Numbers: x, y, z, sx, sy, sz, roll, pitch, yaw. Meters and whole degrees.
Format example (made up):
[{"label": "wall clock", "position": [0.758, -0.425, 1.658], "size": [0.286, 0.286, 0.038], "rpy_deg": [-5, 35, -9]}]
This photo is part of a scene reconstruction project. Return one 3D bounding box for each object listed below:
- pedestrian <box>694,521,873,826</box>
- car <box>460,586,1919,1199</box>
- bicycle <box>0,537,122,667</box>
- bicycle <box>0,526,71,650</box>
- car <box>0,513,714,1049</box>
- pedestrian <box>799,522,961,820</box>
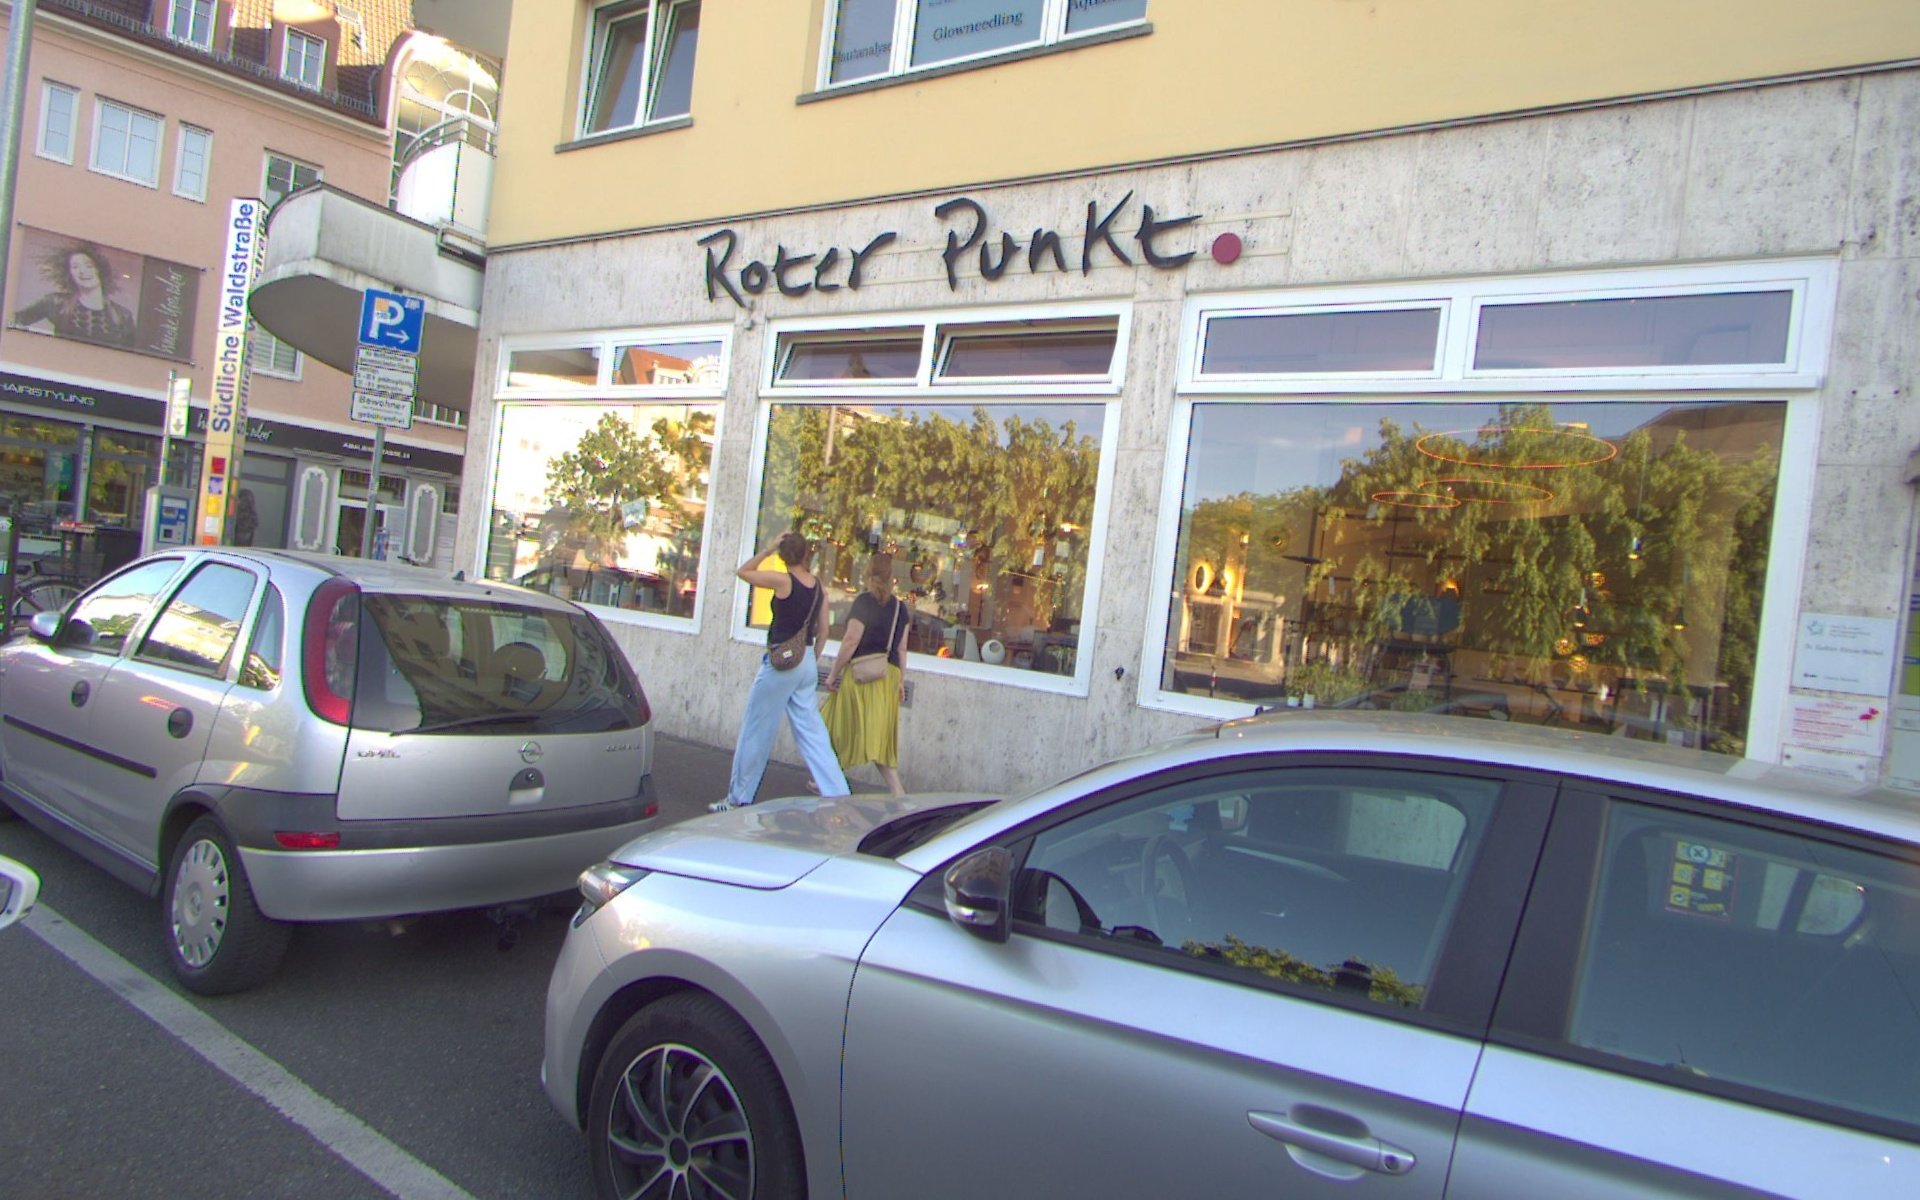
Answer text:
[{"label": "pedestrian", "position": [-1.057, 0.418, 6.032], "size": [0.639, 1.686, 0.655], "rpy_deg": [7, 1, 44]}, {"label": "car", "position": [0.759, 0.920, 2.270], "size": [3.598, 1.444, 1.550], "rpy_deg": [6, -2, 30]}, {"label": "bicycle", "position": [-8.120, -0.003, 8.222], "size": [0.348, 1.051, 1.871], "rpy_deg": [6, 1, 38]}, {"label": "bicycle", "position": [-9.079, -0.148, 8.795], "size": [0.408, 1.101, 1.872], "rpy_deg": [6, 1, 35]}, {"label": "car", "position": [-2.936, 0.491, 4.438], "size": [3.420, 1.407, 1.548], "rpy_deg": [6, -1, 33]}, {"label": "pedestrian", "position": [-0.509, 0.457, 6.635], "size": [0.558, 1.805, 0.742], "rpy_deg": [7, 0, 26]}]
